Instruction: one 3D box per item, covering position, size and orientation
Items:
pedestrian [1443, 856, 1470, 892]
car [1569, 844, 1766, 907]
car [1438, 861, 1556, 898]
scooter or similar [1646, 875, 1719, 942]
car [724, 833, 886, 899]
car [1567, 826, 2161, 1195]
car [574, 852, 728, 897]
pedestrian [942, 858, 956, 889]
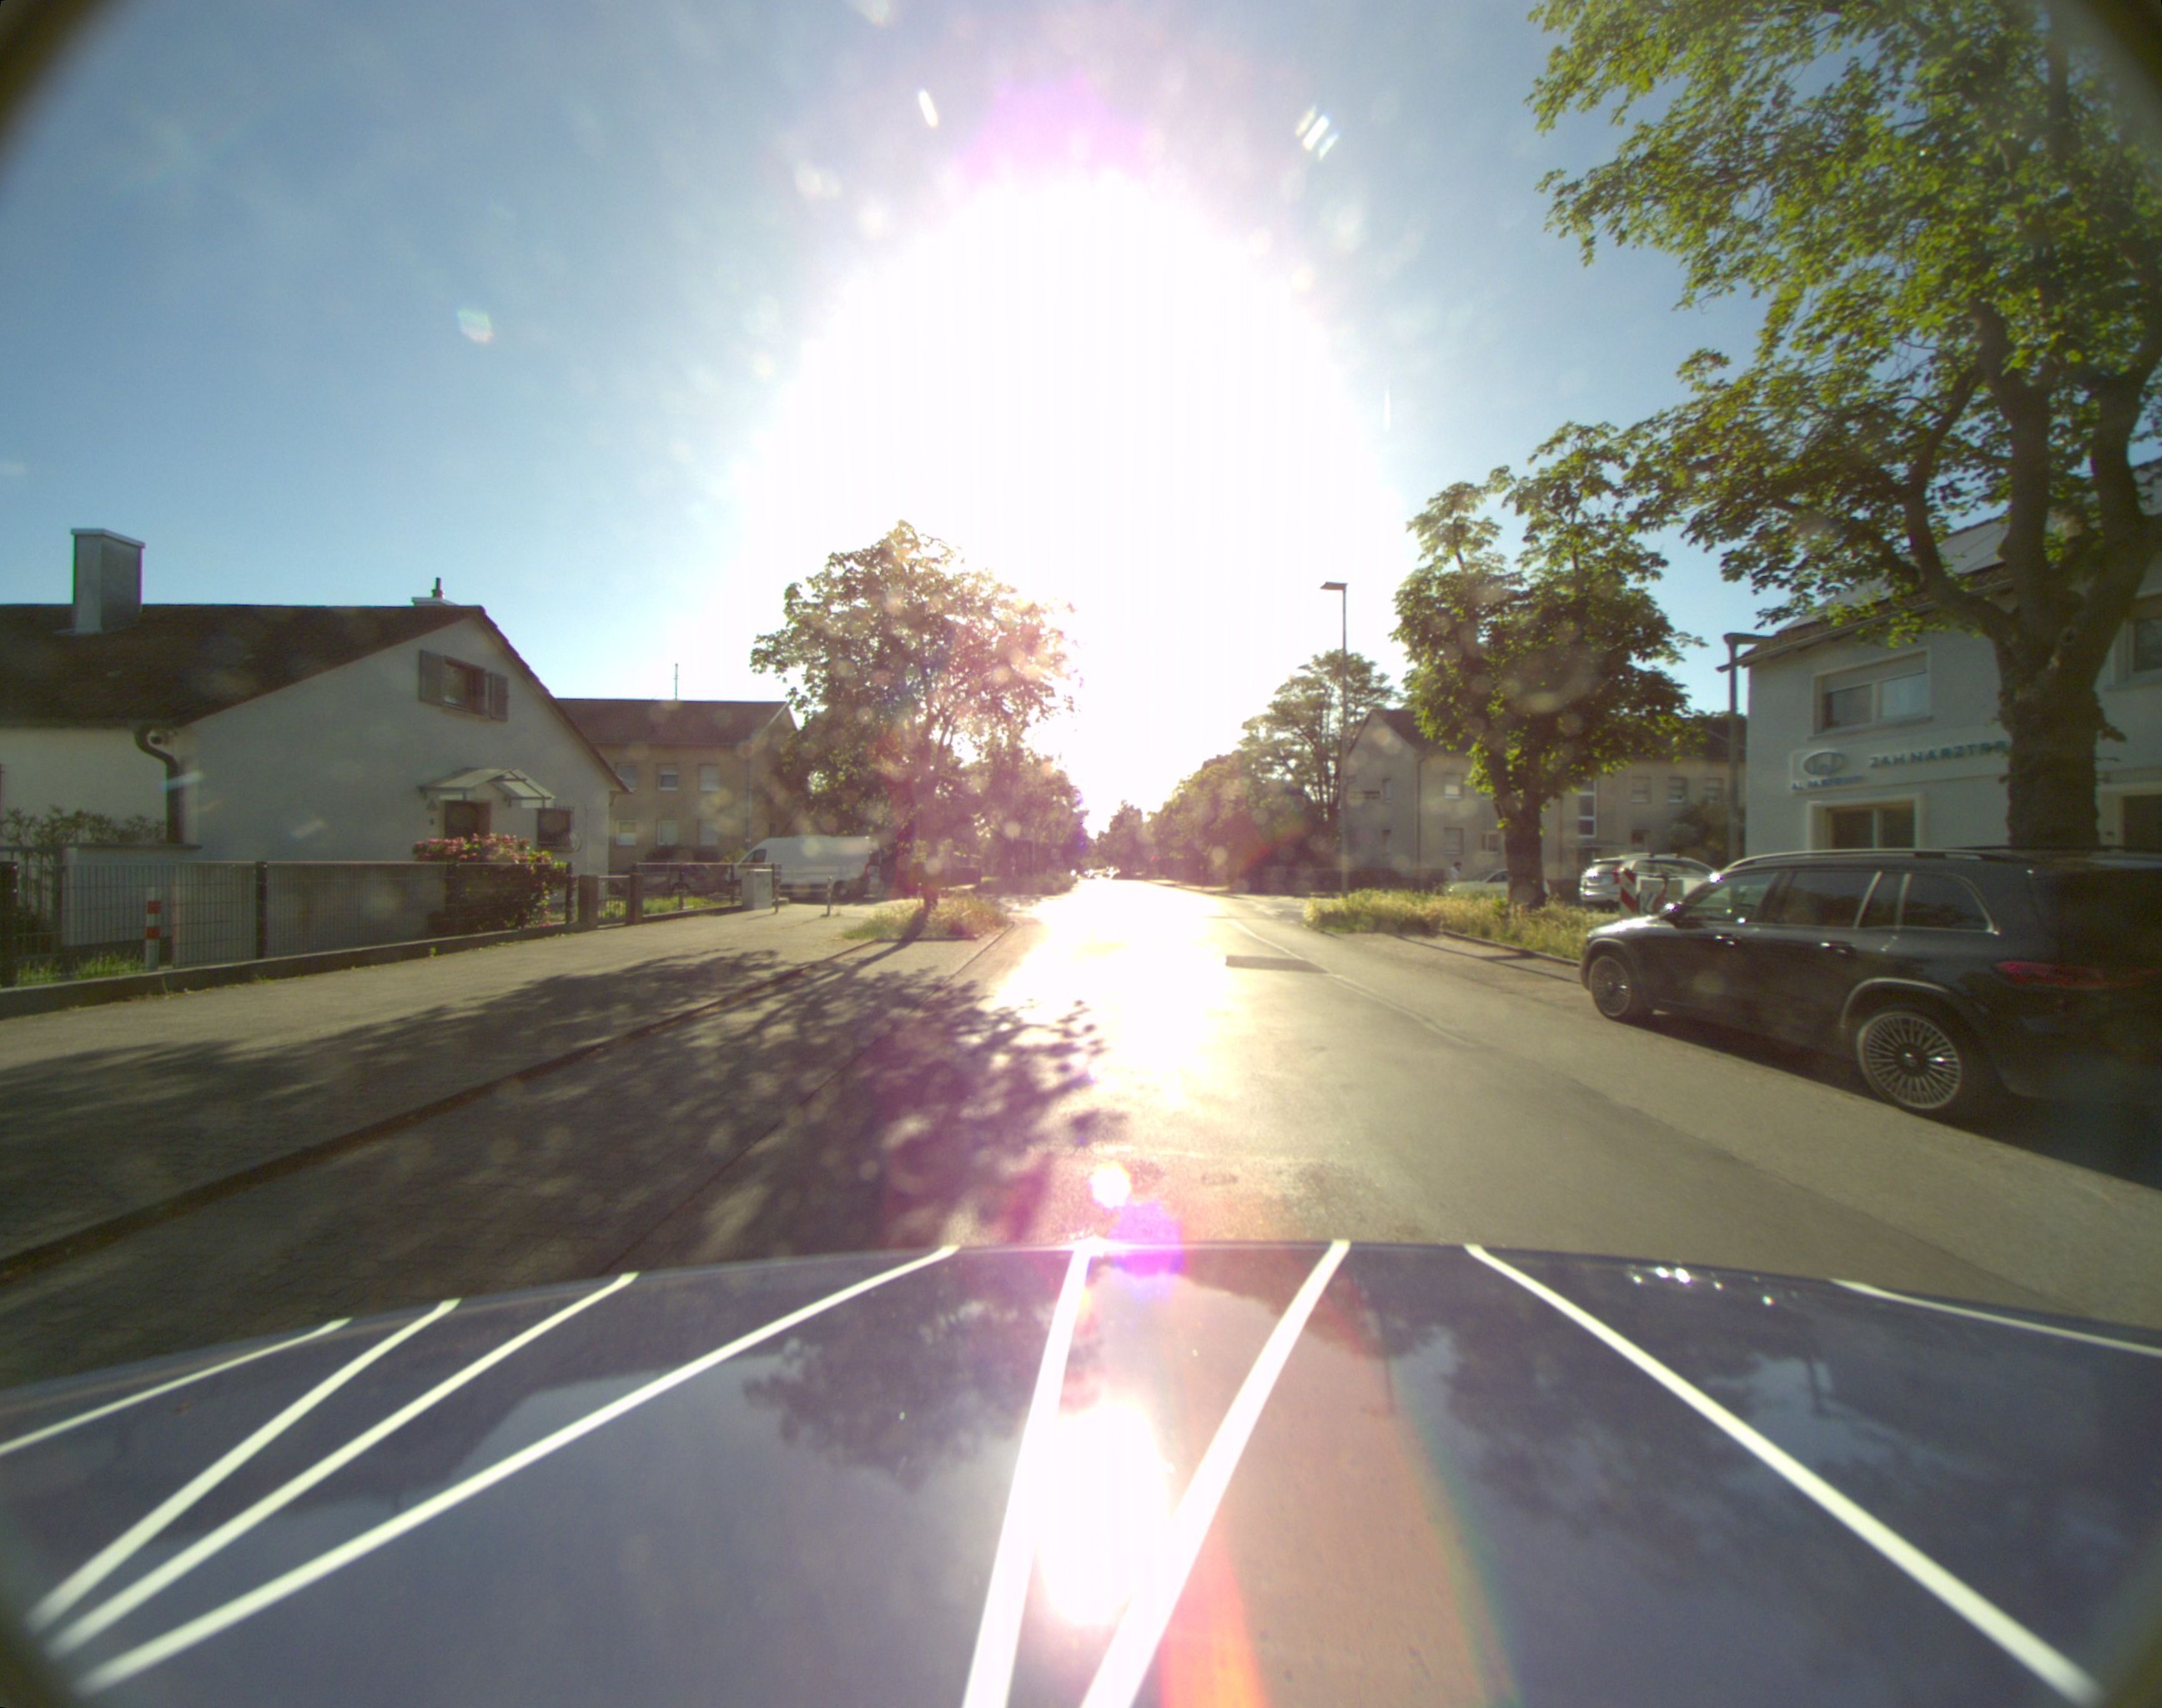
[{"bbox_3d":[16.356,0.887,33.125,0.785,1.544,0.639,-2,-1,-3],"label":"pedestrian"},{"bbox_3d":[17.813,0.681,23.246,4.501,1.826,2.001,0,-3,-2],"label":"car"},{"bbox_3d":[16.876,1.051,30.978,3.776,1.470,1.871,0,-2,-1],"label":"car"},{"bbox_3d":[9.531,0.846,12.070,0.336,0.995,0.997,0,0,-3],"label":"scooter or similar"},{"bbox_3d":[-10.817,0.465,30.146,5.610,2.524,2.265,0,0,-2],"label":"car"},{"bbox_3d":[6.060,0.702,5.589,1.958,1.716,4.875,-2,0,2],"label":"car"},{"bbox_3d":[-16.873,0.818,30.057,4.753,1.572,2.285,-2,-1,-2],"label":"car"},{"bbox_3d":[-7.433,1.104,42.742,0.638,1.695,0.612,2,-1,0],"label":"pedestrian"}]
